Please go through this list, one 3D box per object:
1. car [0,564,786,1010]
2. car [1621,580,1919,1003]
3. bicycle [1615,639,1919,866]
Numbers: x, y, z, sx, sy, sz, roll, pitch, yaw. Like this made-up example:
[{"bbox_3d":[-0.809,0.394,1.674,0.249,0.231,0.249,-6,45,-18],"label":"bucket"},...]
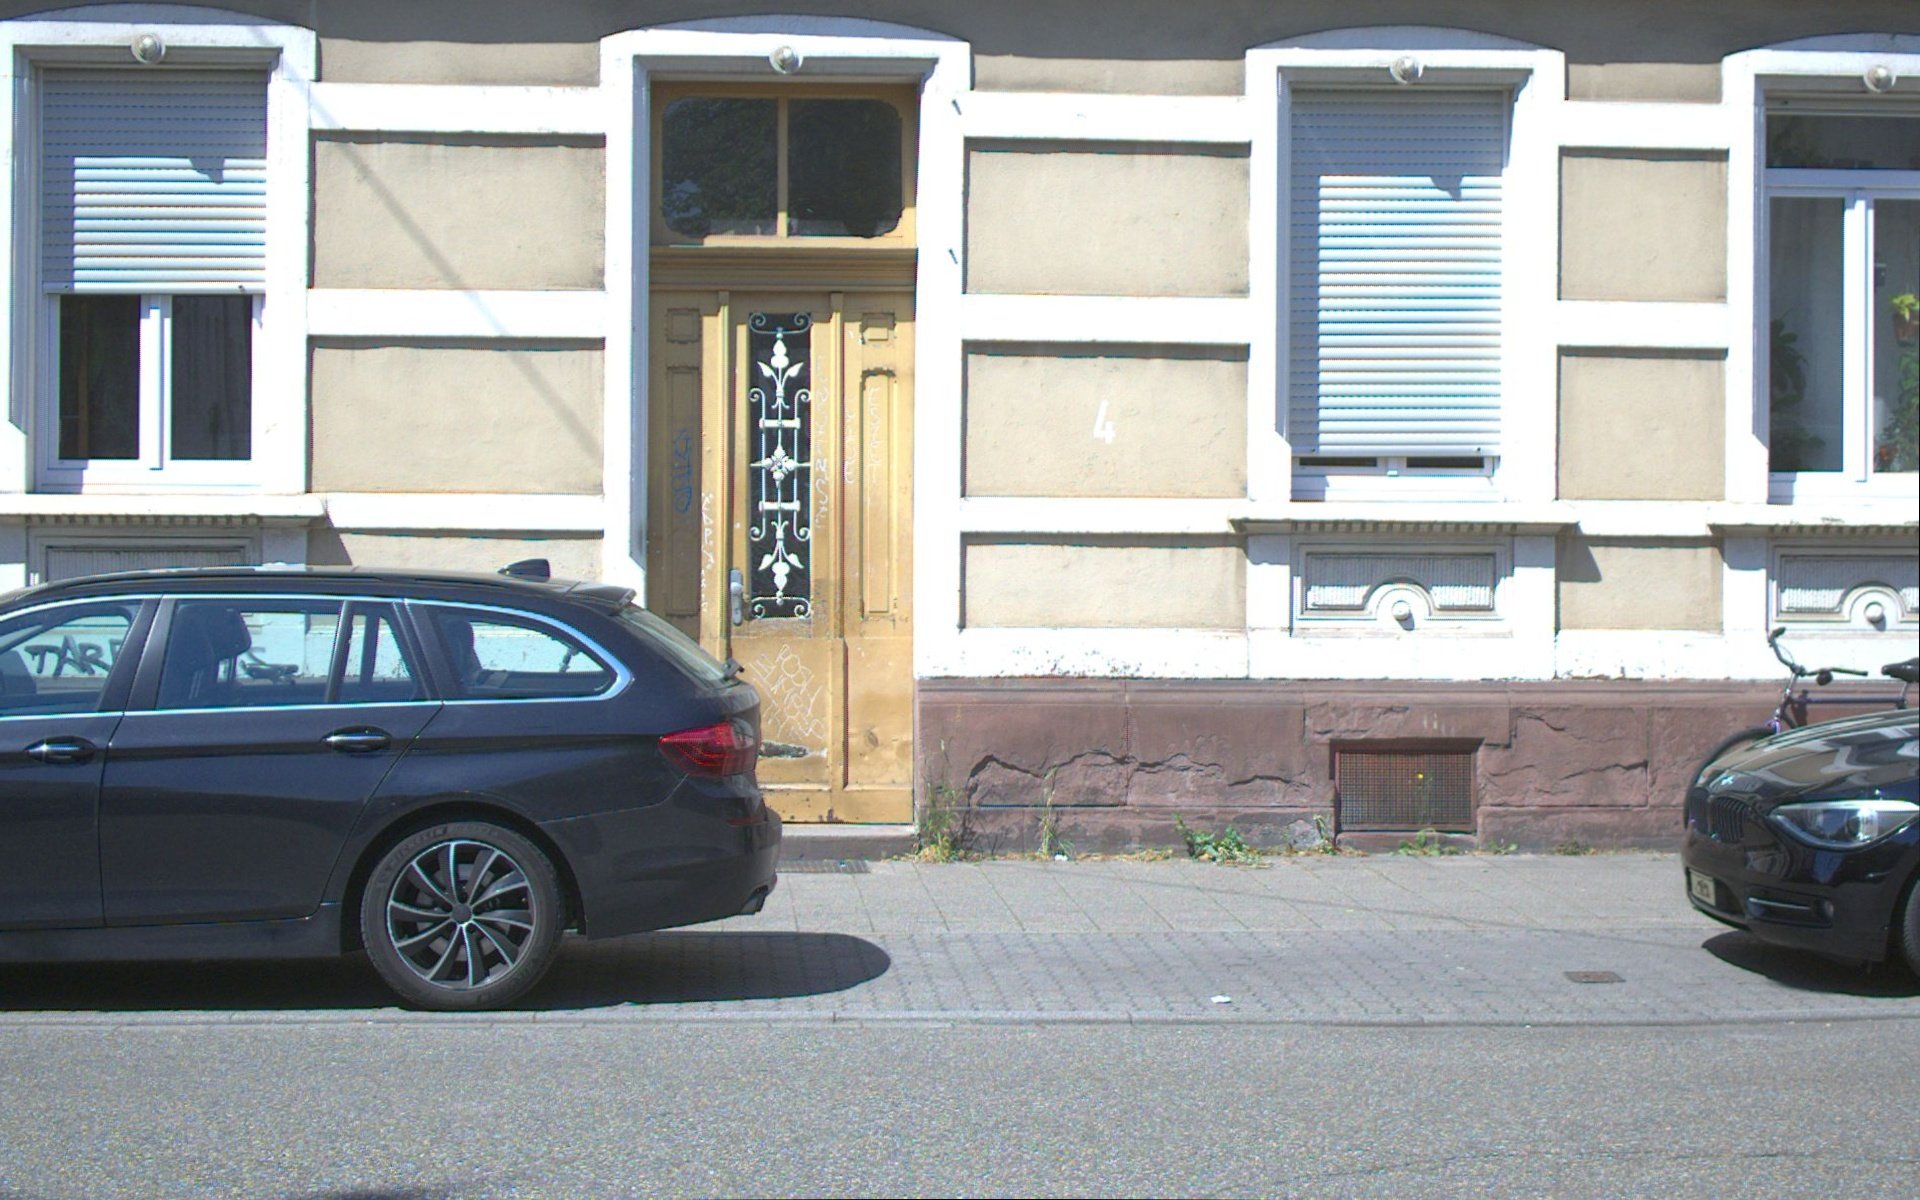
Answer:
[{"bbox_3d":[-3.079,0.611,12.216,4.858,1.432,2.000,-1,0,-4],"label":"car"},{"bbox_3d":[4.831,0.639,12.891,4.293,1.365,1.807,-1,3,-4],"label":"car"},{"bbox_3d":[4.171,0.715,16.415,2.004,1.018,0.424,-1,3,-6],"label":"bicycle"}]
